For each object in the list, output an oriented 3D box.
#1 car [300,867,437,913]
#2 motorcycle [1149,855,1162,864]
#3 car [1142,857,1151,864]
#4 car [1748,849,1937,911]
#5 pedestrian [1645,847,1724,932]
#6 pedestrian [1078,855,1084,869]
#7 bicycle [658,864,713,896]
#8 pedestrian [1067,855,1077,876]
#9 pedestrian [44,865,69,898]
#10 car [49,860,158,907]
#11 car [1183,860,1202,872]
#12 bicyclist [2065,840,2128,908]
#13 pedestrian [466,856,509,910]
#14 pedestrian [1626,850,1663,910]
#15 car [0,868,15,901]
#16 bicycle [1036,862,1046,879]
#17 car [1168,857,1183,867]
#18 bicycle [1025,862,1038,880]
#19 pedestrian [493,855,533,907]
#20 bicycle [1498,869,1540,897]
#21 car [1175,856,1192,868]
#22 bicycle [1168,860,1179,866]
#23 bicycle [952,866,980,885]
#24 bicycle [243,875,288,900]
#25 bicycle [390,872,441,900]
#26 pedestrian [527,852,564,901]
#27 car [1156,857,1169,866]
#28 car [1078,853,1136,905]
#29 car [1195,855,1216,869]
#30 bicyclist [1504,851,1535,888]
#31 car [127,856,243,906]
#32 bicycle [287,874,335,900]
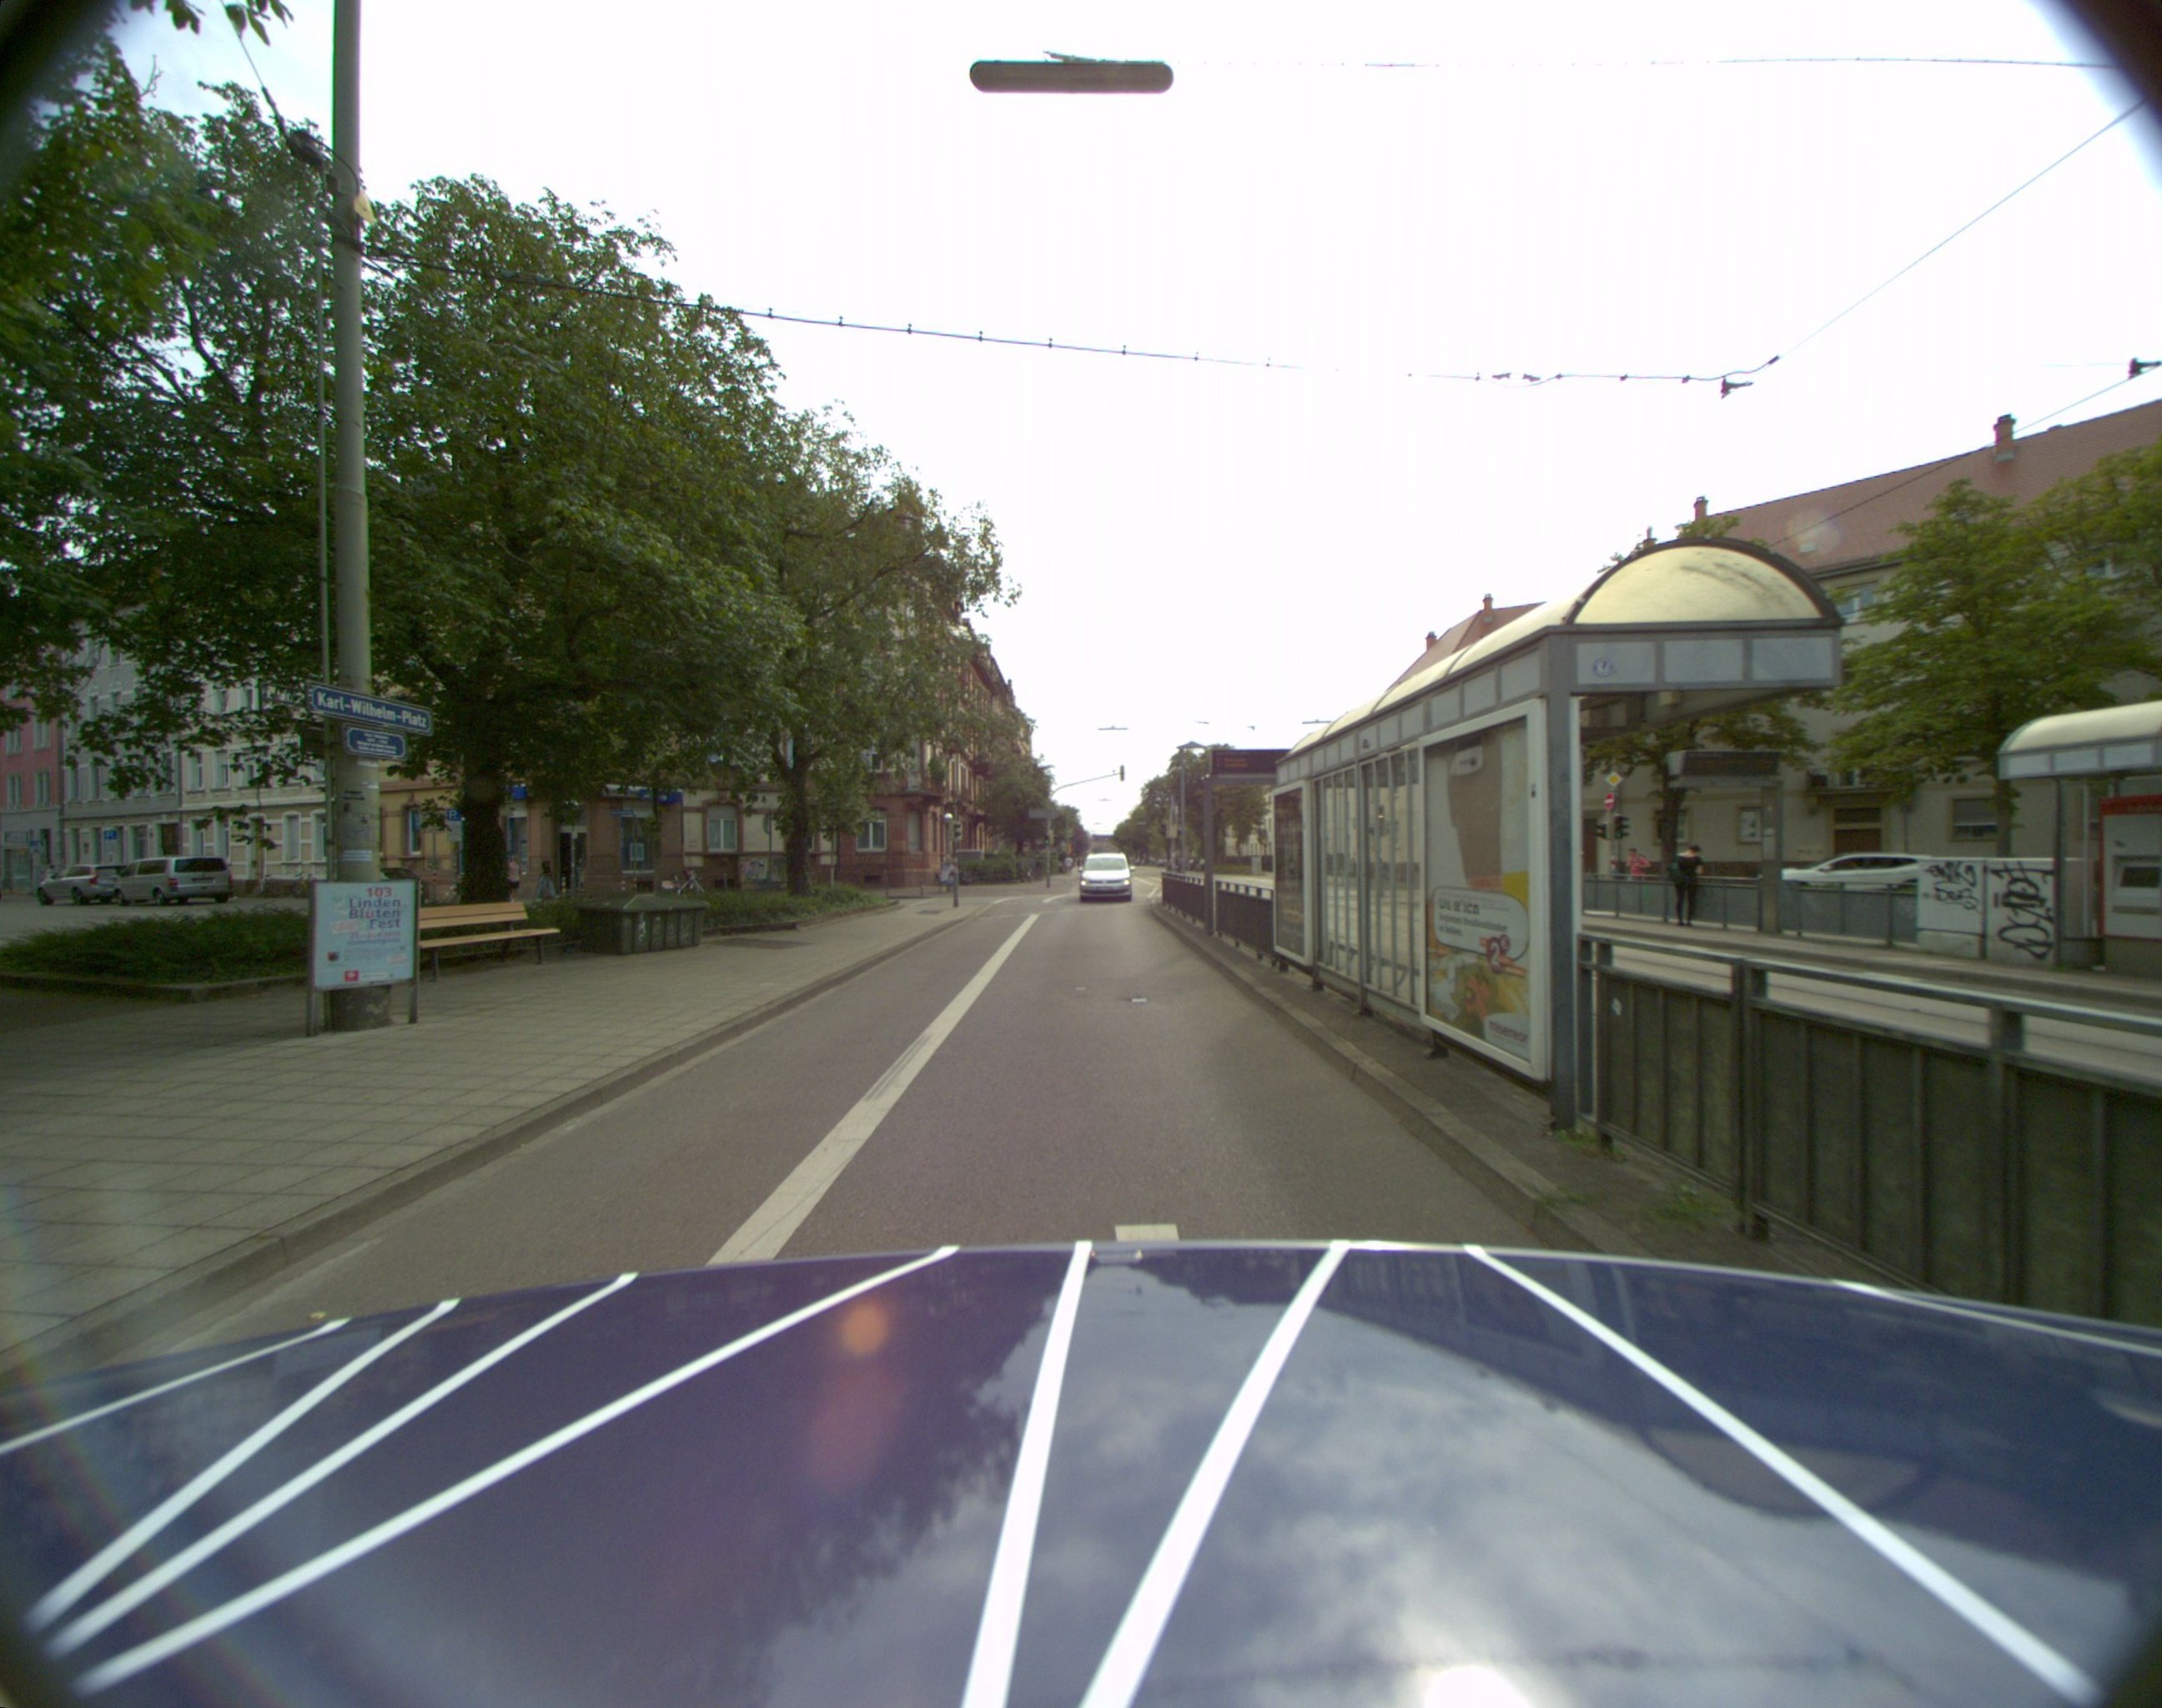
[{"bbox_3d":[-24.049,1.159,25.646,3.990,1.433,1.821,0,0,22],"label":"car"},{"bbox_3d":[14.865,1.103,151.791,2.311,1.382,0.838,-6,0,32],"label":"motorcycle"},{"bbox_3d":[14.952,1.513,173.544,1.732,1.462,4.299,0,0,-2],"label":"car"},{"bbox_3d":[24.593,0.758,24.794,4.146,1.711,1.845,2,3,40],"label":"car"},{"bbox_3d":[11.715,0.671,14.775,0.854,1.611,0.843,0,1,-5],"label":"pedestrian"},{"bbox_3d":[-0.043,0.938,91.698,0.732,1.614,0.835,0,0,0],"label":"pedestrian"},{"bbox_3d":[-14.697,0.953,28.243,1.672,1.137,0.672,0,0,-8],"label":"bicycle"},{"bbox_3d":[-0.732,0.976,63.906,0.732,1.743,0.950,0,0,5],"label":"pedestrian"},{"bbox_3d":[-55.452,1.468,41.130,0.731,1.743,0.648,0,0,22],"label":"pedestrian"},{"bbox_3d":[-42.556,1.262,33.080,4.145,1.932,1.821,0,0,22],"label":"car"},{"bbox_3d":[14.063,1.482,96.080,1.701,1.415,4.300,-2,0,0],"label":"car"},{"bbox_3d":[27.174,0.515,20.333,0.613,1.765,0.909,0,0,-27],"label":"bicyclist"},{"bbox_3d":[-19.459,0.952,24.911,0.730,1.719,0.895,1,0,33],"label":"pedestrian"},{"bbox_3d":[18.140,0.810,24.478,0.731,1.889,0.836,0,0,19],"label":"pedestrian"},{"bbox_3d":[-57.724,1.590,39.459,3.990,1.740,1.821,0,0,22],"label":"car"},{"bbox_3d":[-2.623,1.050,49.647,0.510,1.082,1.550,3,0,1],"label":"bicycle"},{"bbox_3d":[14.467,1.195,116.835,1.701,1.462,4.299,0,0,-2],"label":"car"},{"bbox_3d":[-3.079,1.056,46.931,0.672,1.100,1.672,0,0,1],"label":"bicycle"},{"bbox_3d":[-19.394,0.920,25.953,0.891,1.719,0.759,1,0,24],"label":"pedestrian"},{"bbox_3d":[16.068,1.056,27.890,0.662,0.943,1.550,0,0,1],"label":"bicycle"},{"bbox_3d":[14.505,1.135,107.405,1.790,1.602,4.300,0,0,0],"label":"car"},{"bbox_3d":[14.784,1.448,121.562,1.672,0.965,0.672,0,0,-8],"label":"bicycle"},{"bbox_3d":[-6.045,1.133,39.972,0.509,0.964,1.553,0,0,33],"label":"bicycle"},{"bbox_3d":[-37.181,1.521,34.641,1.935,1.114,0.674,0,0,19],"label":"bicycle"},{"bbox_3d":[-26.961,1.285,30.776,1.935,1.114,0.674,0,0,19],"label":"bicycle"},{"bbox_3d":[-19.502,0.816,27.655,0.891,1.719,0.734,1,0,24],"label":"pedestrian"},{"bbox_3d":[14.594,1.321,136.200,1.701,1.462,4.299,-1,0,-2],"label":"car"},{"bbox_3d":[0.901,0.817,27.411,1.876,1.670,5.132,0,0,1],"label":"car"},{"bbox_3d":[14.435,0.933,88.013,1.701,1.415,4.300,-3,0,0],"label":"car"},{"bbox_3d":[16.069,0.554,27.887,0.662,1.331,0.836,0,0,1],"label":"bicyclist"},{"bbox_3d":[-36.799,1.065,31.211,3.990,1.969,1.871,0,0,22],"label":"car"},{"bbox_3d":[-33.550,1.434,33.100,1.935,1.114,0.674,0,0,19],"label":"bicycle"}]
